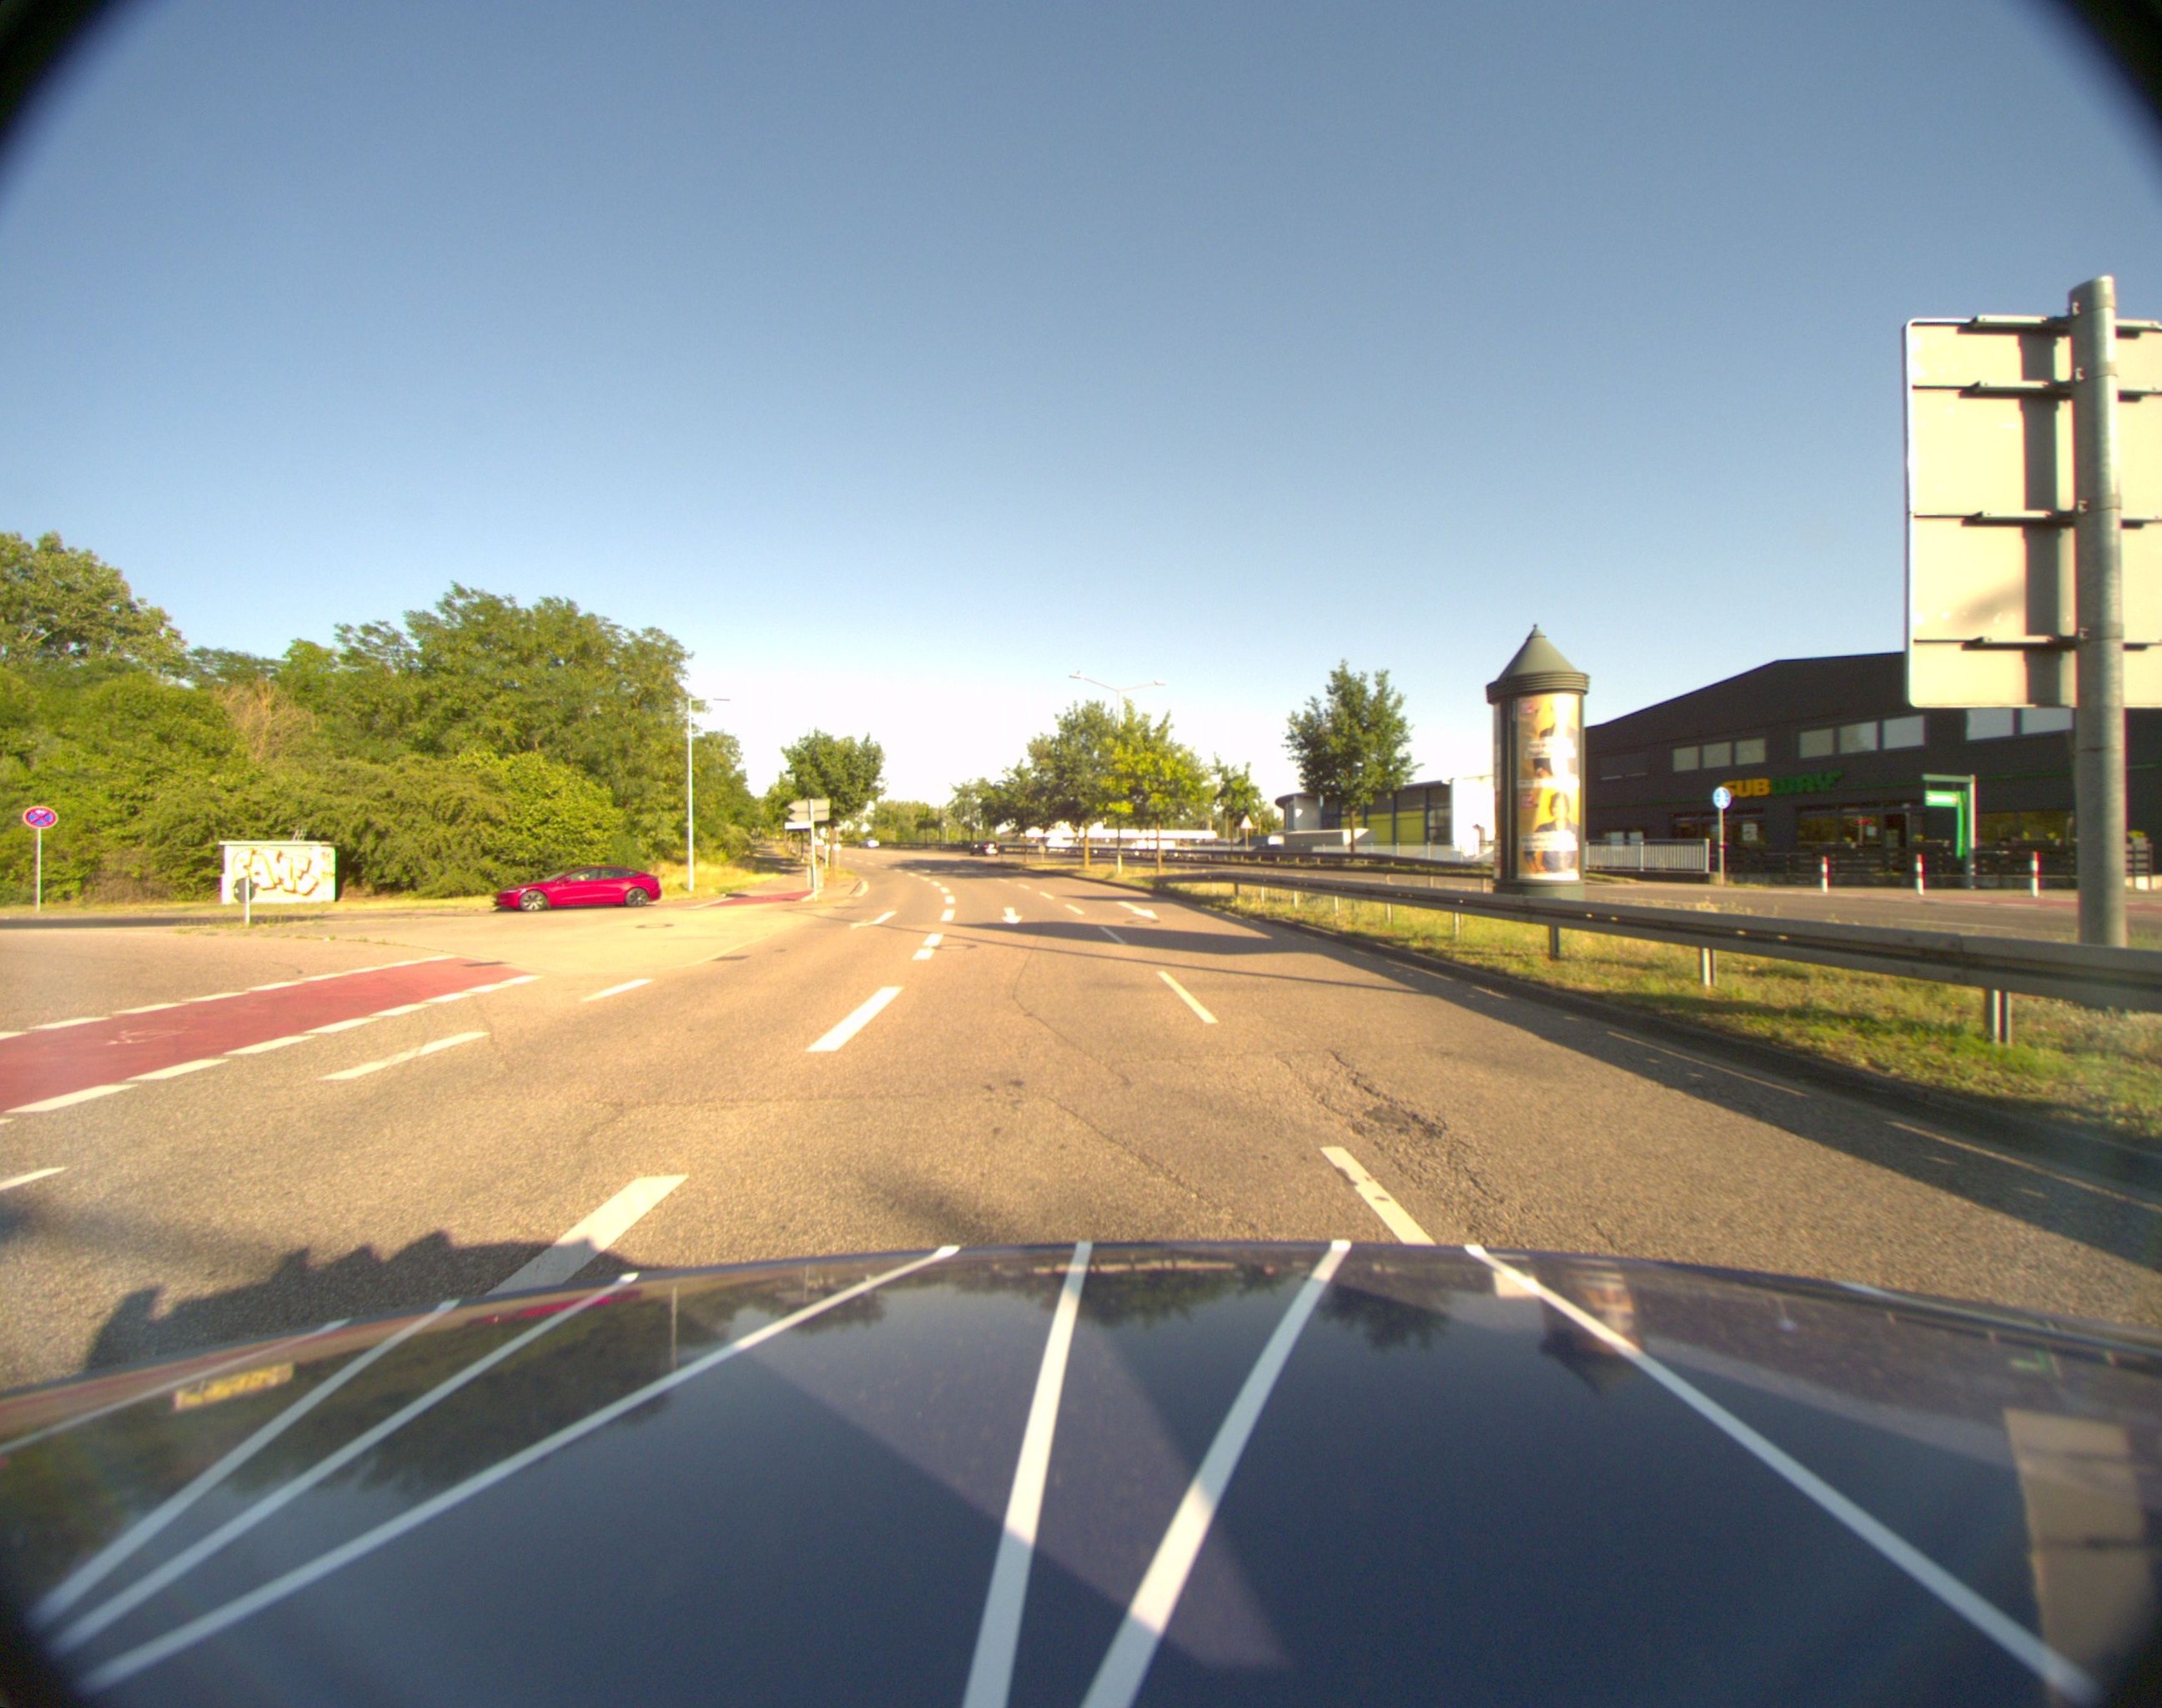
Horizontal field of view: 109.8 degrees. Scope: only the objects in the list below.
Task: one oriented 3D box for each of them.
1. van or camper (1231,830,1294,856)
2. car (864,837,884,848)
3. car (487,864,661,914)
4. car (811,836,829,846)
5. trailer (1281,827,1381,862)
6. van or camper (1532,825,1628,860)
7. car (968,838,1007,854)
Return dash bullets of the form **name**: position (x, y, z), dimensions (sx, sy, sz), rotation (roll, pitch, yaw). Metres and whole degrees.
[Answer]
- **van or camper**: position (12.820, -0.815, 54.055), dimensions (2.002, 1.676, 4.950), rotation (-2, 2, -20)
- **car**: position (-29.963, -1.683, 109.961), dimensions (1.680, 1.454, 4.094), rotation (-2, 2, -33)
- **car**: position (-16.395, 1.101, 24.742), dimensions (1.778, 1.433, 4.369), rotation (-3, -2, 42)
- **car**: position (-42.677, -2.123, 124.301), dimensions (1.749, 1.454, 3.755), rotation (-3, 2, -36)
- **trailer**: position (15.349, -0.630, 47.181), dimensions (2.429, 1.959, 6.593), rotation (-1, 2, -19)
- **van or camper**: position (28.979, -0.710, 44.244), dimensions (4.220, 1.915, 2.002), rotation (1, 3, 16)
- **car**: position (-9.293, -0.808, 75.406), dimensions (1.855, 1.595, 4.382), rotation (-2, 2, -37)
